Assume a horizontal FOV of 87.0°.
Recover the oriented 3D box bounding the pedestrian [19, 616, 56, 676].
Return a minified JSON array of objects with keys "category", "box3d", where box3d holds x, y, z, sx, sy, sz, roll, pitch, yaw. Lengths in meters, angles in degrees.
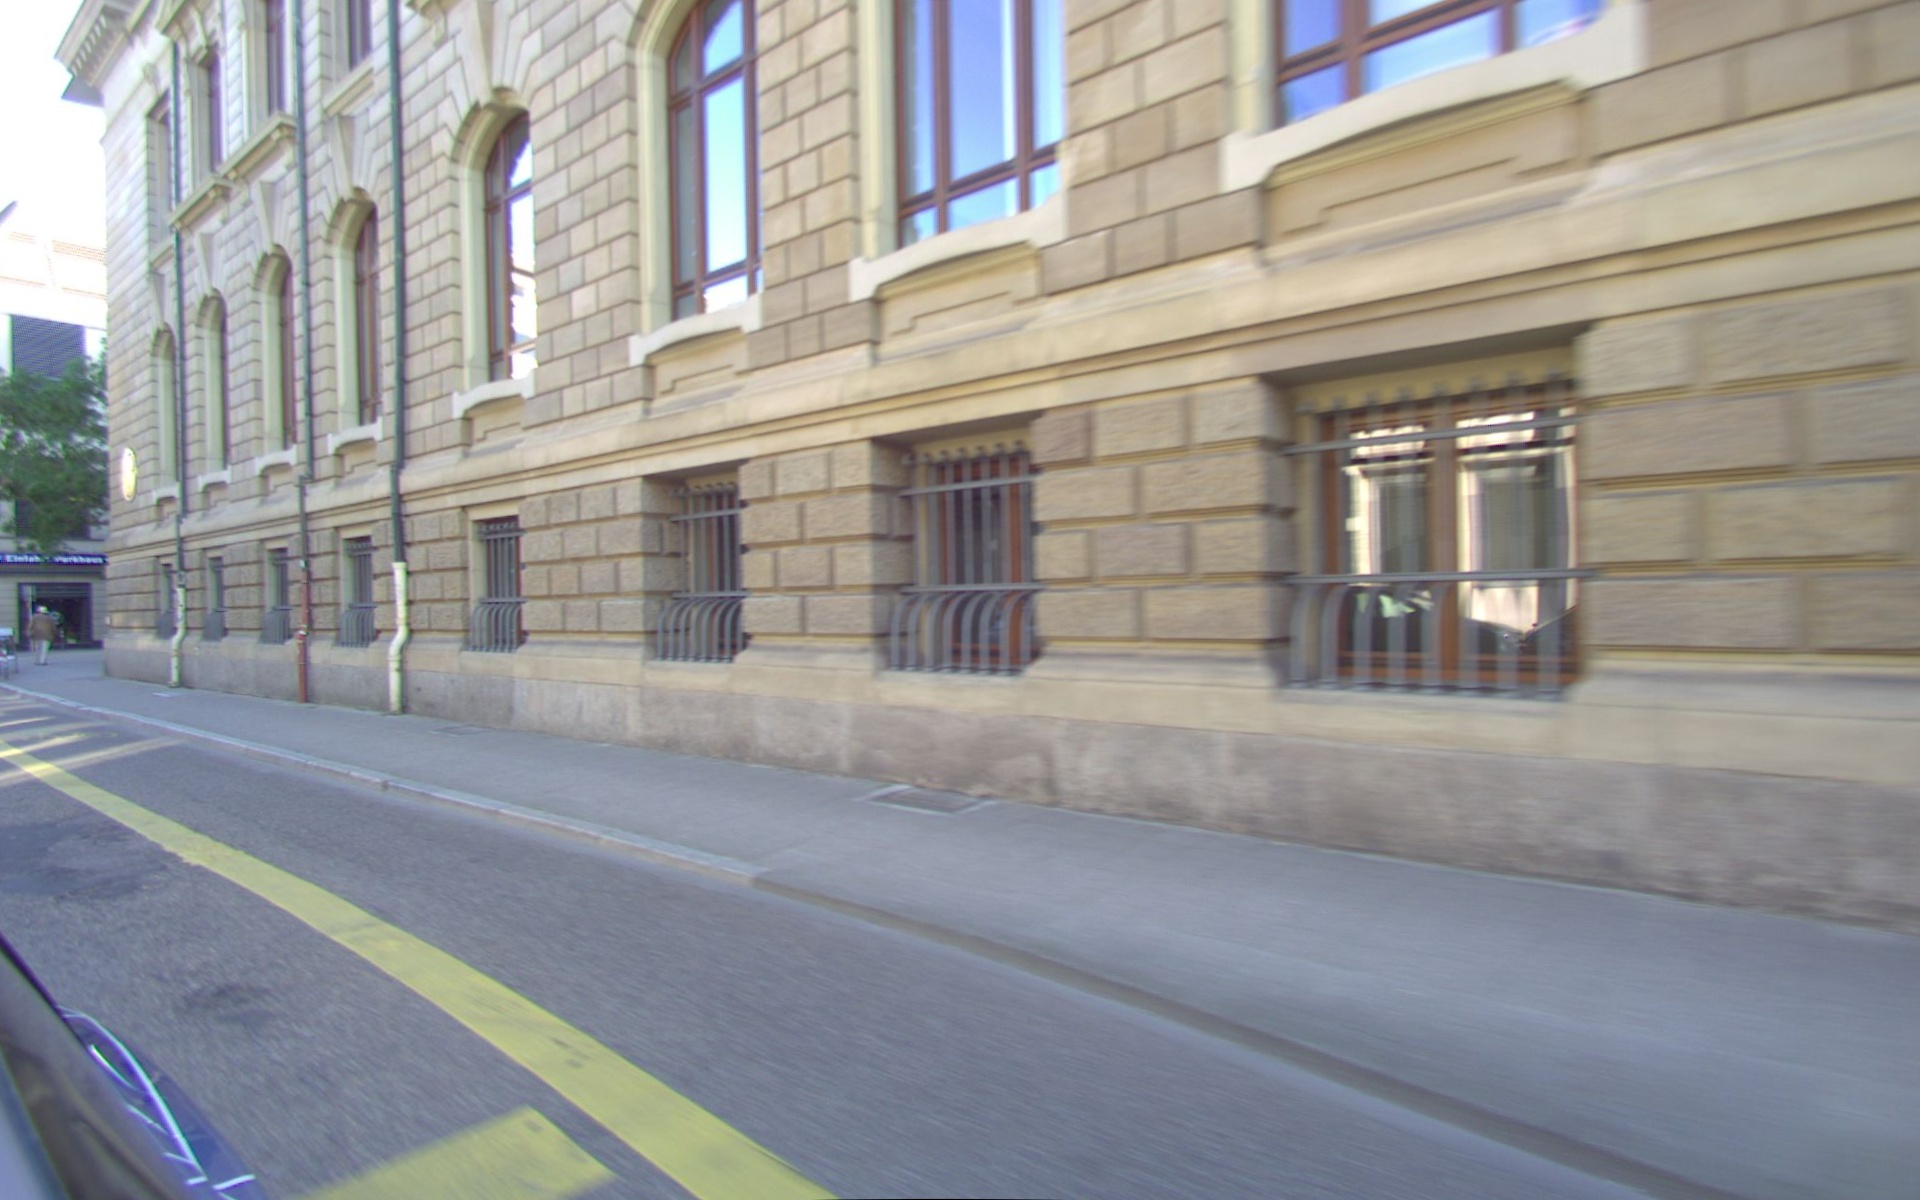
[{"category":"pedestrian","box3d":[-28.051,1.386,30.782,0.753,1.793,0.623,-2,0,-39]}]
